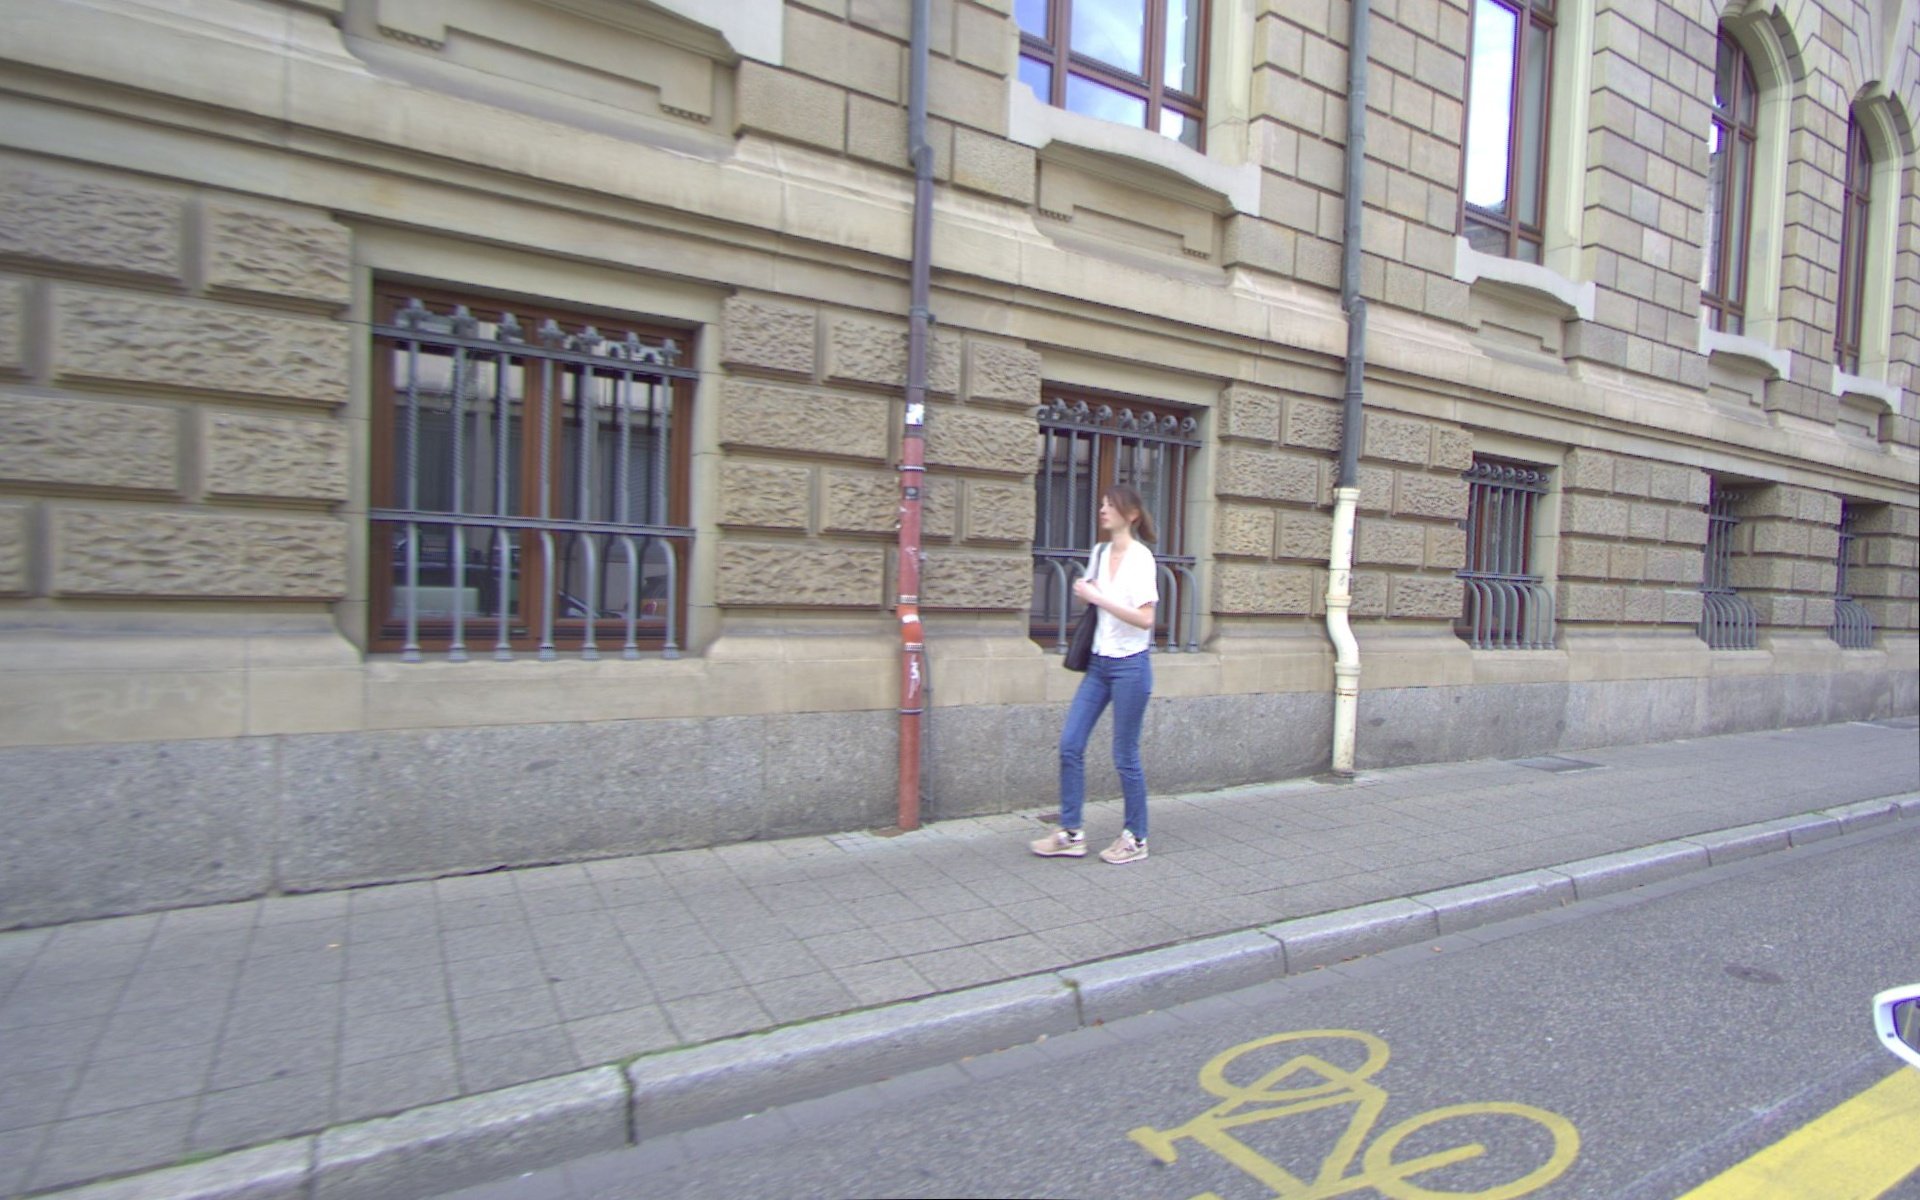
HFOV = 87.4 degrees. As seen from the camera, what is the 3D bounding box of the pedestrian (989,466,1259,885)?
[{"bbox_3d":[0.801,0.332,4.947,1.036,1.844,0.660,1,3,-31],"label":"pedestrian"}]
